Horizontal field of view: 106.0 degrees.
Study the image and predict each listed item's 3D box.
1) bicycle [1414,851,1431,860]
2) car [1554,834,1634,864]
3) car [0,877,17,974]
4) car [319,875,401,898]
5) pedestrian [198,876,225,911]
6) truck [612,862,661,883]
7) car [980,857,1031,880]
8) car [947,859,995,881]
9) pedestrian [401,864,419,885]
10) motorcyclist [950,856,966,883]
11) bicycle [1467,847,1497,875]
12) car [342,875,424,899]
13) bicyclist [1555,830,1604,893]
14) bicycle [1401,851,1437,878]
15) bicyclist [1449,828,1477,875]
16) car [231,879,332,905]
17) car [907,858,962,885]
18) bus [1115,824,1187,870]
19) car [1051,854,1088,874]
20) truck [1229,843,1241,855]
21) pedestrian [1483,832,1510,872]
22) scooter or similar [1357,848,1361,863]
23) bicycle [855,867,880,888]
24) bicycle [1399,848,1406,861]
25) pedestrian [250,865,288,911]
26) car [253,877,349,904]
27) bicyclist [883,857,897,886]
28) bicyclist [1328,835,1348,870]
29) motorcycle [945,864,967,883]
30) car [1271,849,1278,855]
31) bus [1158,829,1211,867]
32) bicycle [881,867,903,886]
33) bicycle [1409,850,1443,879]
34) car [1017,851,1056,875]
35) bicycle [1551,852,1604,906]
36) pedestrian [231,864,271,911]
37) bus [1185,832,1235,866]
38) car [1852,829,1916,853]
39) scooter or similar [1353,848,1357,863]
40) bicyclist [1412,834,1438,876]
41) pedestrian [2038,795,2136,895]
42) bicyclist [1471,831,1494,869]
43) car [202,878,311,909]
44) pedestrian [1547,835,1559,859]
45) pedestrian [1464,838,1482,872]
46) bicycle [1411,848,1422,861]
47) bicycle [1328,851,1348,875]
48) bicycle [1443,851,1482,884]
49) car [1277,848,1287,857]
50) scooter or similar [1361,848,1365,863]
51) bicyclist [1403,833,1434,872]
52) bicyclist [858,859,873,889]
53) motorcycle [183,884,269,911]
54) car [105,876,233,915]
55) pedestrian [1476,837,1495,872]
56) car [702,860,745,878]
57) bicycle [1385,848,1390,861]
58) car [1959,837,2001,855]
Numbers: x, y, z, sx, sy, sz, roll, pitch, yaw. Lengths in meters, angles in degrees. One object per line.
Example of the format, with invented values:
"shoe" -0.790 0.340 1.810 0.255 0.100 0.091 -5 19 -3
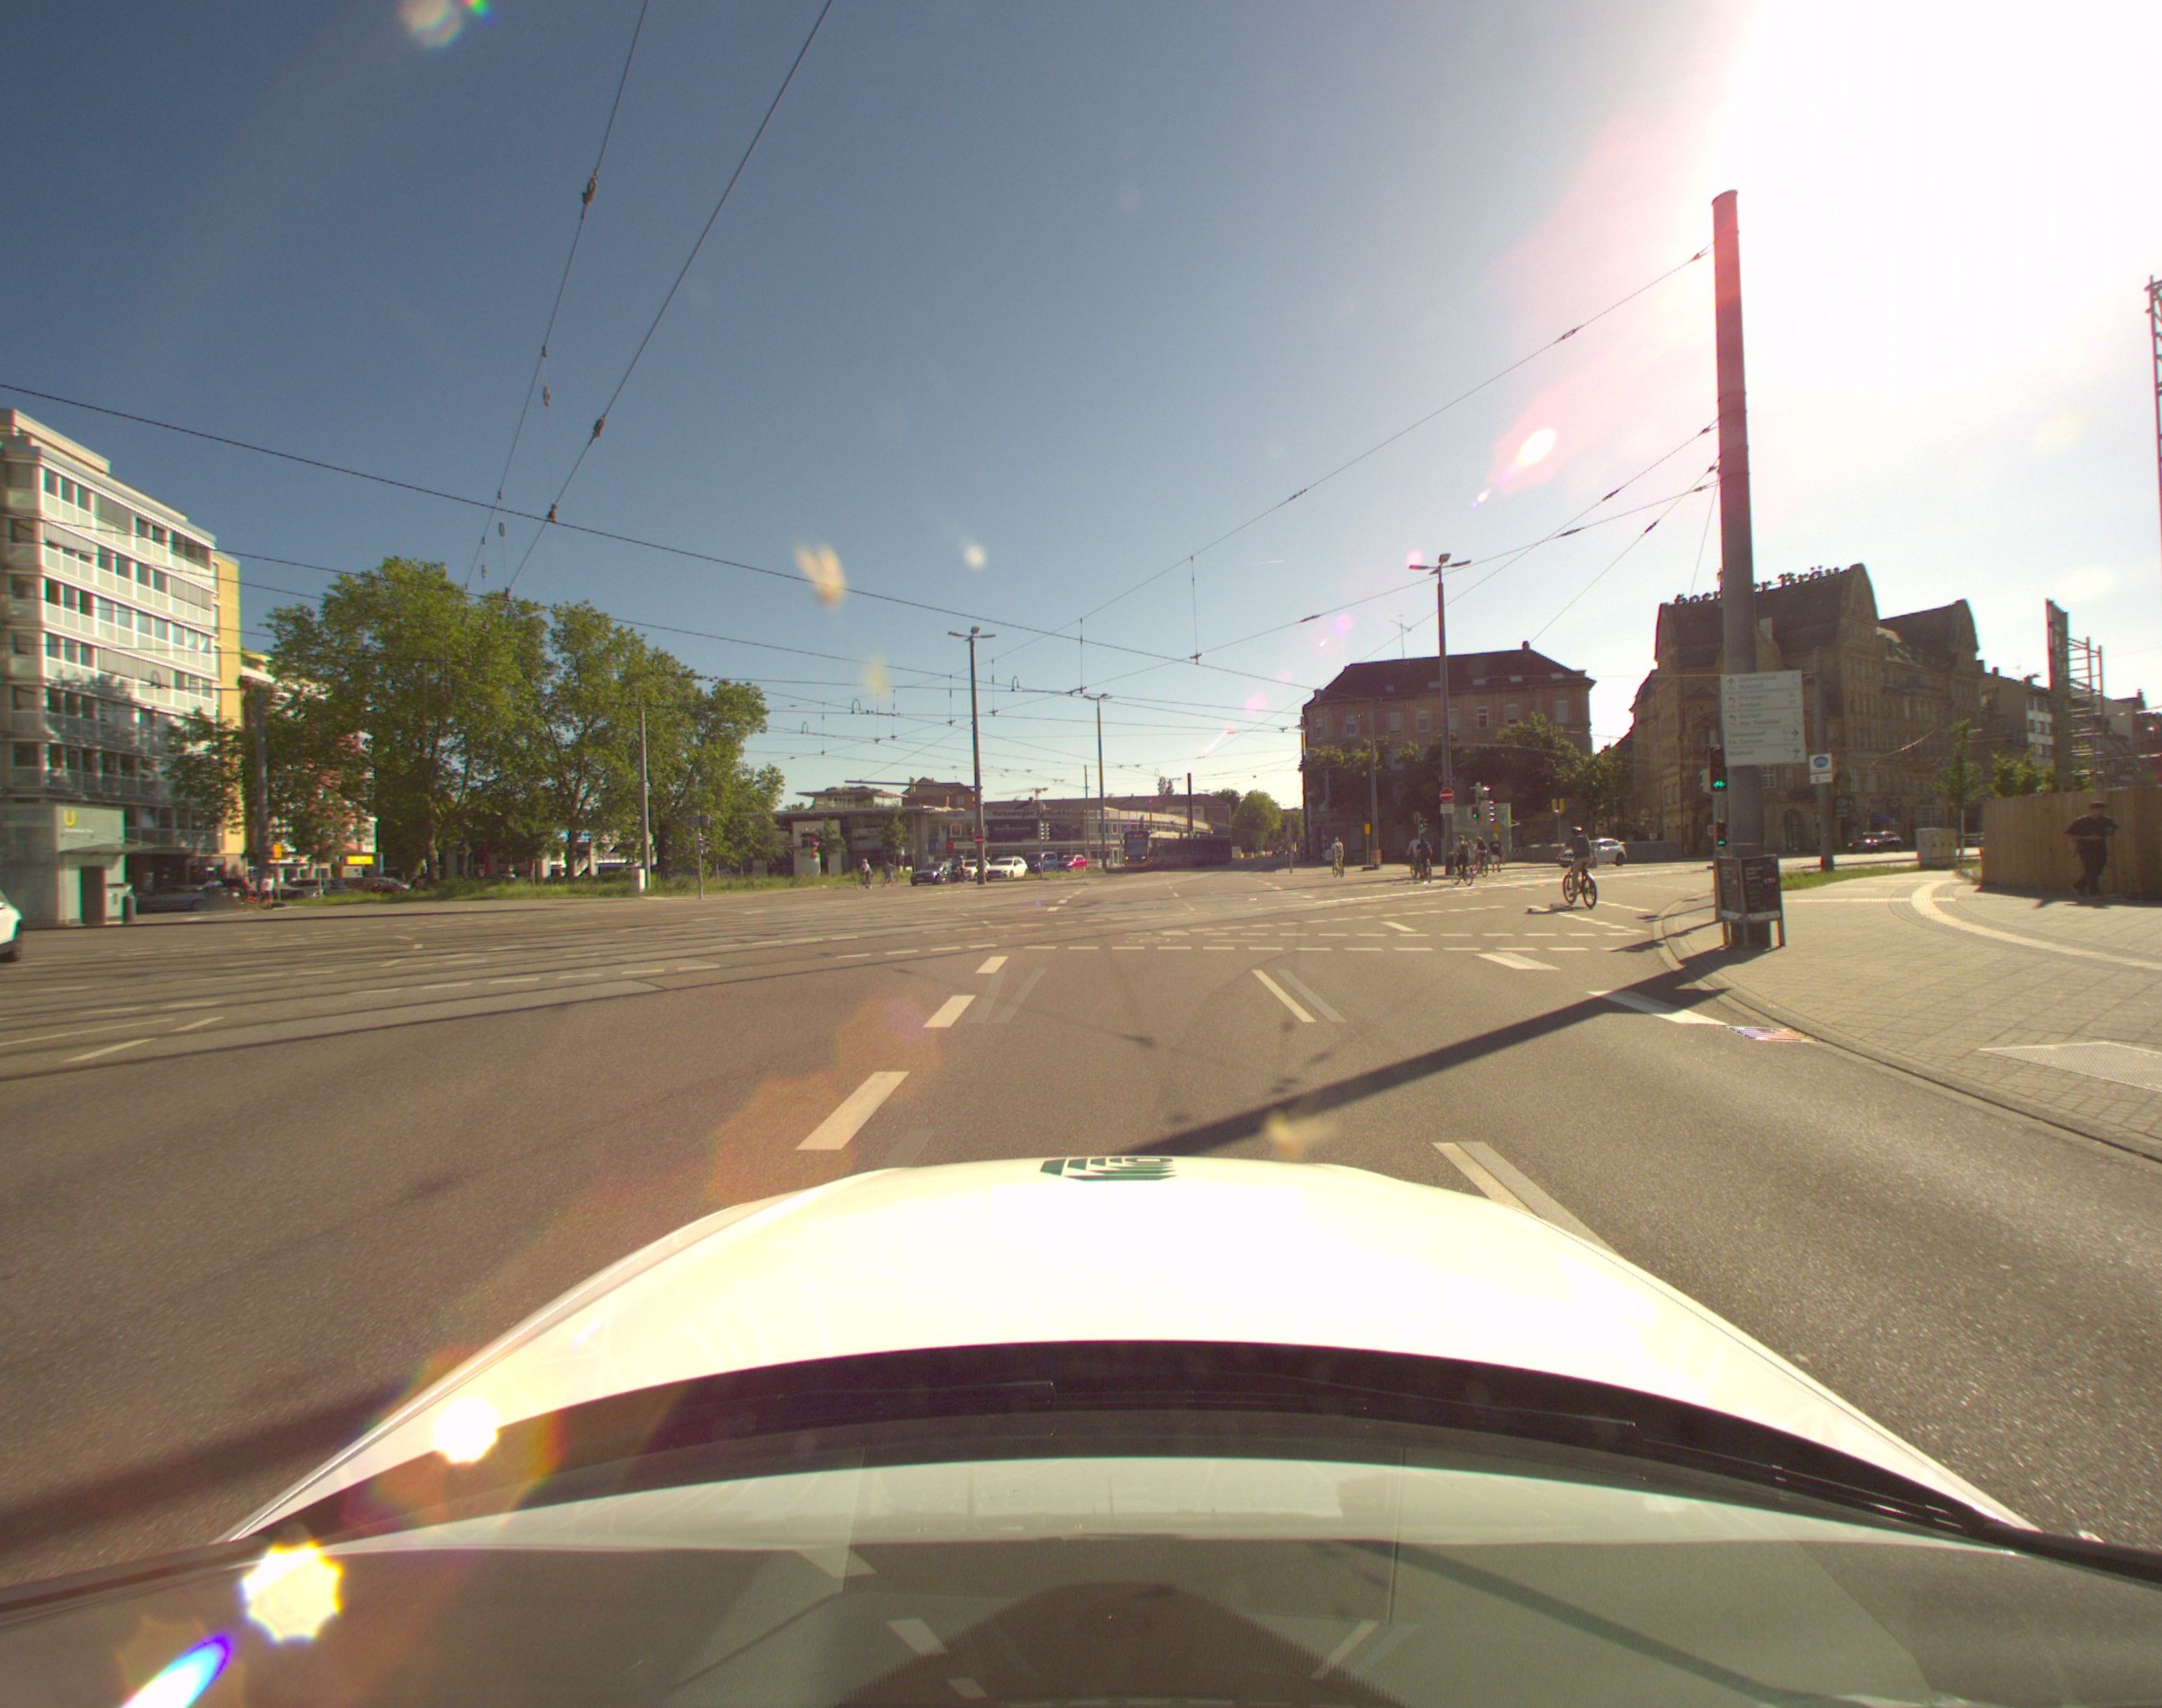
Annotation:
"bicycle" 30.726 0.134 73.223 1.405 0.856 0.406 0 -1 23
"car" 30.656 -0.286 48.641 4.255 1.621 1.904 -1 -2 -23
"car" -20.515 1.280 14.331 4.506 1.641 2.016 -2 0 39
"car" -52.839 2.366 59.804 4.003 1.499 1.985 -2 0 -23
"pedestrian" -41.742 1.876 39.086 0.763 1.621 0.646 0 -1 -36
"truck" -48.388 1.994 88.624 4.186 2.221 2.001 0 -1 2
"car" -5.000 0.942 54.624 1.789 1.432 4.560 0 0 16
"car" -7.560 1.088 56.478 1.789 1.432 4.017 0 0 16
"pedestrian" -64.102 1.925 77.808 1.110 2.014 1.168 0 -1 -26
"motorcyclist" -7.486 0.943 49.531 0.580 1.580 0.947 -3 -1 17
"bicycle" 17.333 0.286 35.238 0.529 1.117 1.937 0 2 6
"car" -49.906 2.351 58.299 4.003 1.499 1.932 -2 0 -23
"bicyclist" 11.562 0.163 18.915 0.669 1.421 1.040 0 -1 14
"bicycle" 14.181 0.429 34.216 0.386 1.069 1.926 -2 1 -12
"bicyclist" 13.221 -0.085 28.183 0.548 1.613 0.953 0 -1 2
"car" -49.951 2.355 51.003 4.003 1.389 1.985 -2 0 -22
"car" -9.032 1.055 50.547 1.637 1.479 3.988 -3 -1 16
"bus" 6.388 -0.567 71.101 2.817 3.589 13.563 -1 0 20
"car" -1.011 0.928 75.727 1.783 1.719 4.439 -3 -1 21
"truck" 36.970 -1.147 195.423 2.521 2.830 6.397 0 0 12
"pedestrian" 20.354 -0.098 39.885 0.924 1.929 1.052 0 -1 12
"scooter or similar" 23.350 0.126 68.411 0.268 1.185 1.571 0 -1 17
"bicycle" -12.713 1.396 48.477 0.534 1.184 1.761 -2 0 16
"bicycle" 26.722 0.061 67.733 0.400 1.061 1.358 0 -1 17
"pedestrian" -36.418 1.503 36.536 0.854 2.030 0.866 0 -1 -11
"car" -50.695 2.331 53.049 4.003 1.499 1.985 -2 0 -23
"bicyclist" -11.669 1.075 49.793 0.569 1.742 0.604 0 1 16
"bicyclist" 12.316 -0.072 39.032 0.677 1.683 1.122 0 -1 6
"motorcycle" -7.546 1.185 49.312 0.514 1.047 1.755 -3 0 18
"car" 58.894 -0.504 247.383 1.745 1.697 4.162 0 0 17
"bus" 10.642 -0.604 82.618 2.816 3.589 10.781 -1 0 21
"bicycle" -11.589 1.400 50.033 0.534 1.074 1.662 -2 0 16
"bicycle" 13.487 0.415 31.855 0.529 1.117 1.934 -2 -1 2
"car" -3.670 0.731 68.353 1.788 1.933 4.184 -3 -1 18
"bicycle" 11.616 0.562 19.111 0.528 1.158 1.873 0 2 15
"pedestrian" -36.324 1.468 35.650 0.854 2.030 0.866 0 -1 -11
"bus" 14.883 -0.600 92.914 2.816 3.589 11.333 -1 0 23
"car" 61.459 -1.010 62.325 4.255 1.687 1.904 -1 -2 -23
"scooter or similar" 23.044 0.127 68.486 0.268 1.185 1.571 0 -1 17
"bicyclist" 13.419 0.038 31.784 0.621 1.613 0.982 0 -1 3
"pedestrian" 18.507 -0.152 15.002 0.770 1.787 0.833 0 -1 8
"bicyclist" 17.399 -0.152 35.297 0.595 1.613 0.955 0 -1 7
"car" -48.875 2.296 48.380 4.003 1.565 1.985 -2 0 -22
"pedestrian" 35.852 -0.532 61.827 0.651 1.849 0.542 0 -1 -27
"pedestrian" 19.650 0.062 40.835 0.655 1.677 0.826 0 -1 12
"bicycle" 27.767 0.067 67.400 0.402 1.061 1.352 0 0 1
"bicycle" 12.308 0.417 39.041 0.529 1.117 1.937 0 1 6
"bicycle" 13.222 0.442 28.262 0.529 1.117 1.935 0 0 3
"car" 45.466 -0.419 183.806 1.978 2.014 4.017 0 0 16
"scooter or similar" 23.664 0.115 68.316 0.268 1.196 1.571 0 -1 17
"bicyclist" 14.206 -0.061 34.299 0.782 1.593 0.882 -2 -1 -11
"bicyclist" -12.791 1.158 48.266 0.569 1.742 0.681 0 1 17
"motorcycle" -39.980 2.032 38.099 2.942 1.177 1.294 0 -1 9
"car" -48.487 2.170 43.427 4.003 1.806 1.985 -2 0 -23
"pedestrian" 20.589 0.034 41.467 0.655 1.757 0.826 0 -1 12
"car" -40.765 1.703 92.955 3.979 2.014 1.997 0 -1 -5
"bicycle" 25.562 0.057 67.975 0.400 1.061 1.490 0 -1 21
"car" 88.402 -0.765 80.085 4.025 1.621 1.738 -1 -2 -28
